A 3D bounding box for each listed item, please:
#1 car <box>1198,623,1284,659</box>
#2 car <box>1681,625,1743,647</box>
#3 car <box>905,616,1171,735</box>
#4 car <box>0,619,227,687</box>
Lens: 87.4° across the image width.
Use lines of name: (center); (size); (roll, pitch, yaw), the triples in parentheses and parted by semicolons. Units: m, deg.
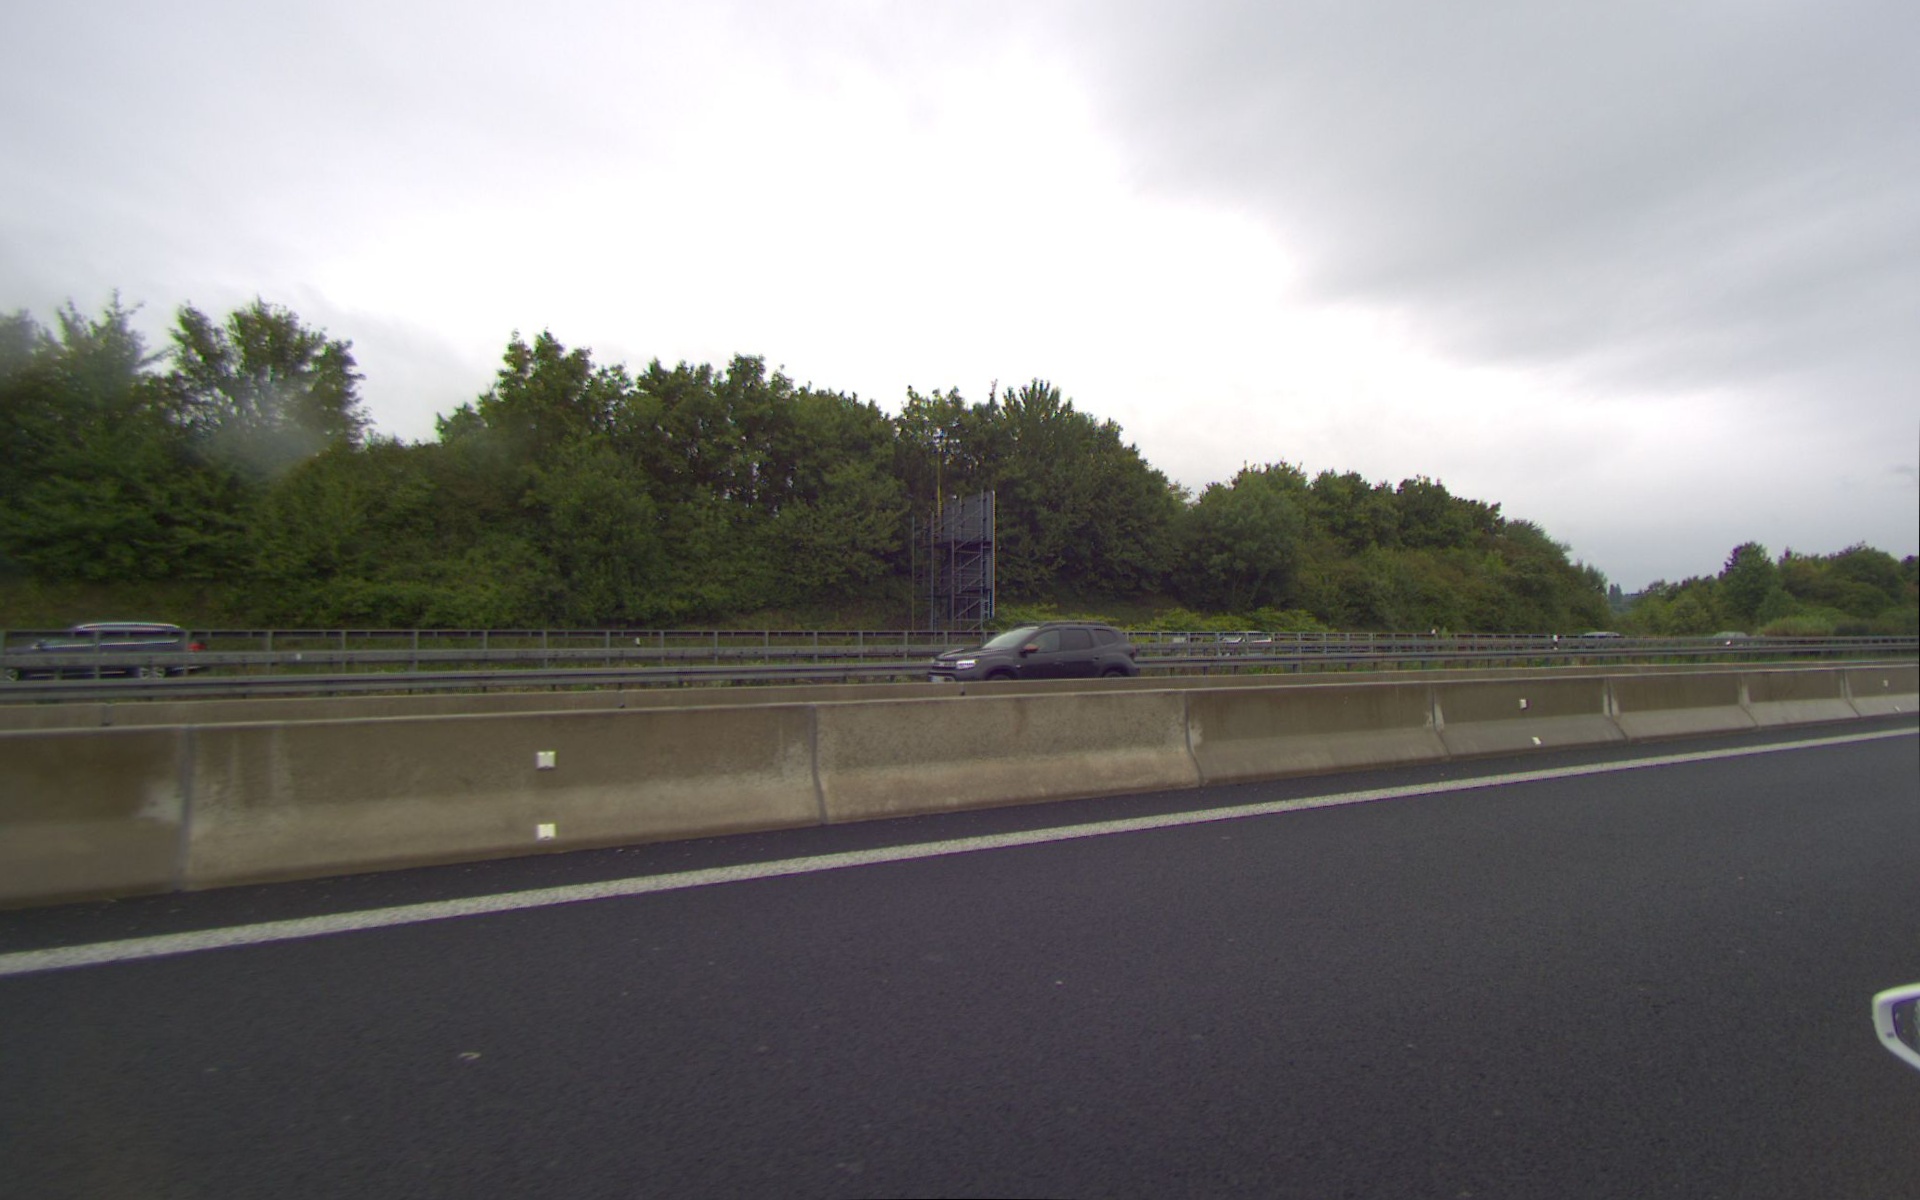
car: (13.751, 1.990, 49.140); (4.013, 1.653, 1.809); (2, -1, -32)
car: (53.223, 2.536, 71.048); (4.721, 1.475, 1.810); (2, -1, -30)
car: (1.570, 1.397, 19.616); (4.924, 2.040, 1.984); (2, 0, -31)
car: (-20.898, 1.285, 24.711); (4.425, 1.513, 1.809); (2, -1, -32)
